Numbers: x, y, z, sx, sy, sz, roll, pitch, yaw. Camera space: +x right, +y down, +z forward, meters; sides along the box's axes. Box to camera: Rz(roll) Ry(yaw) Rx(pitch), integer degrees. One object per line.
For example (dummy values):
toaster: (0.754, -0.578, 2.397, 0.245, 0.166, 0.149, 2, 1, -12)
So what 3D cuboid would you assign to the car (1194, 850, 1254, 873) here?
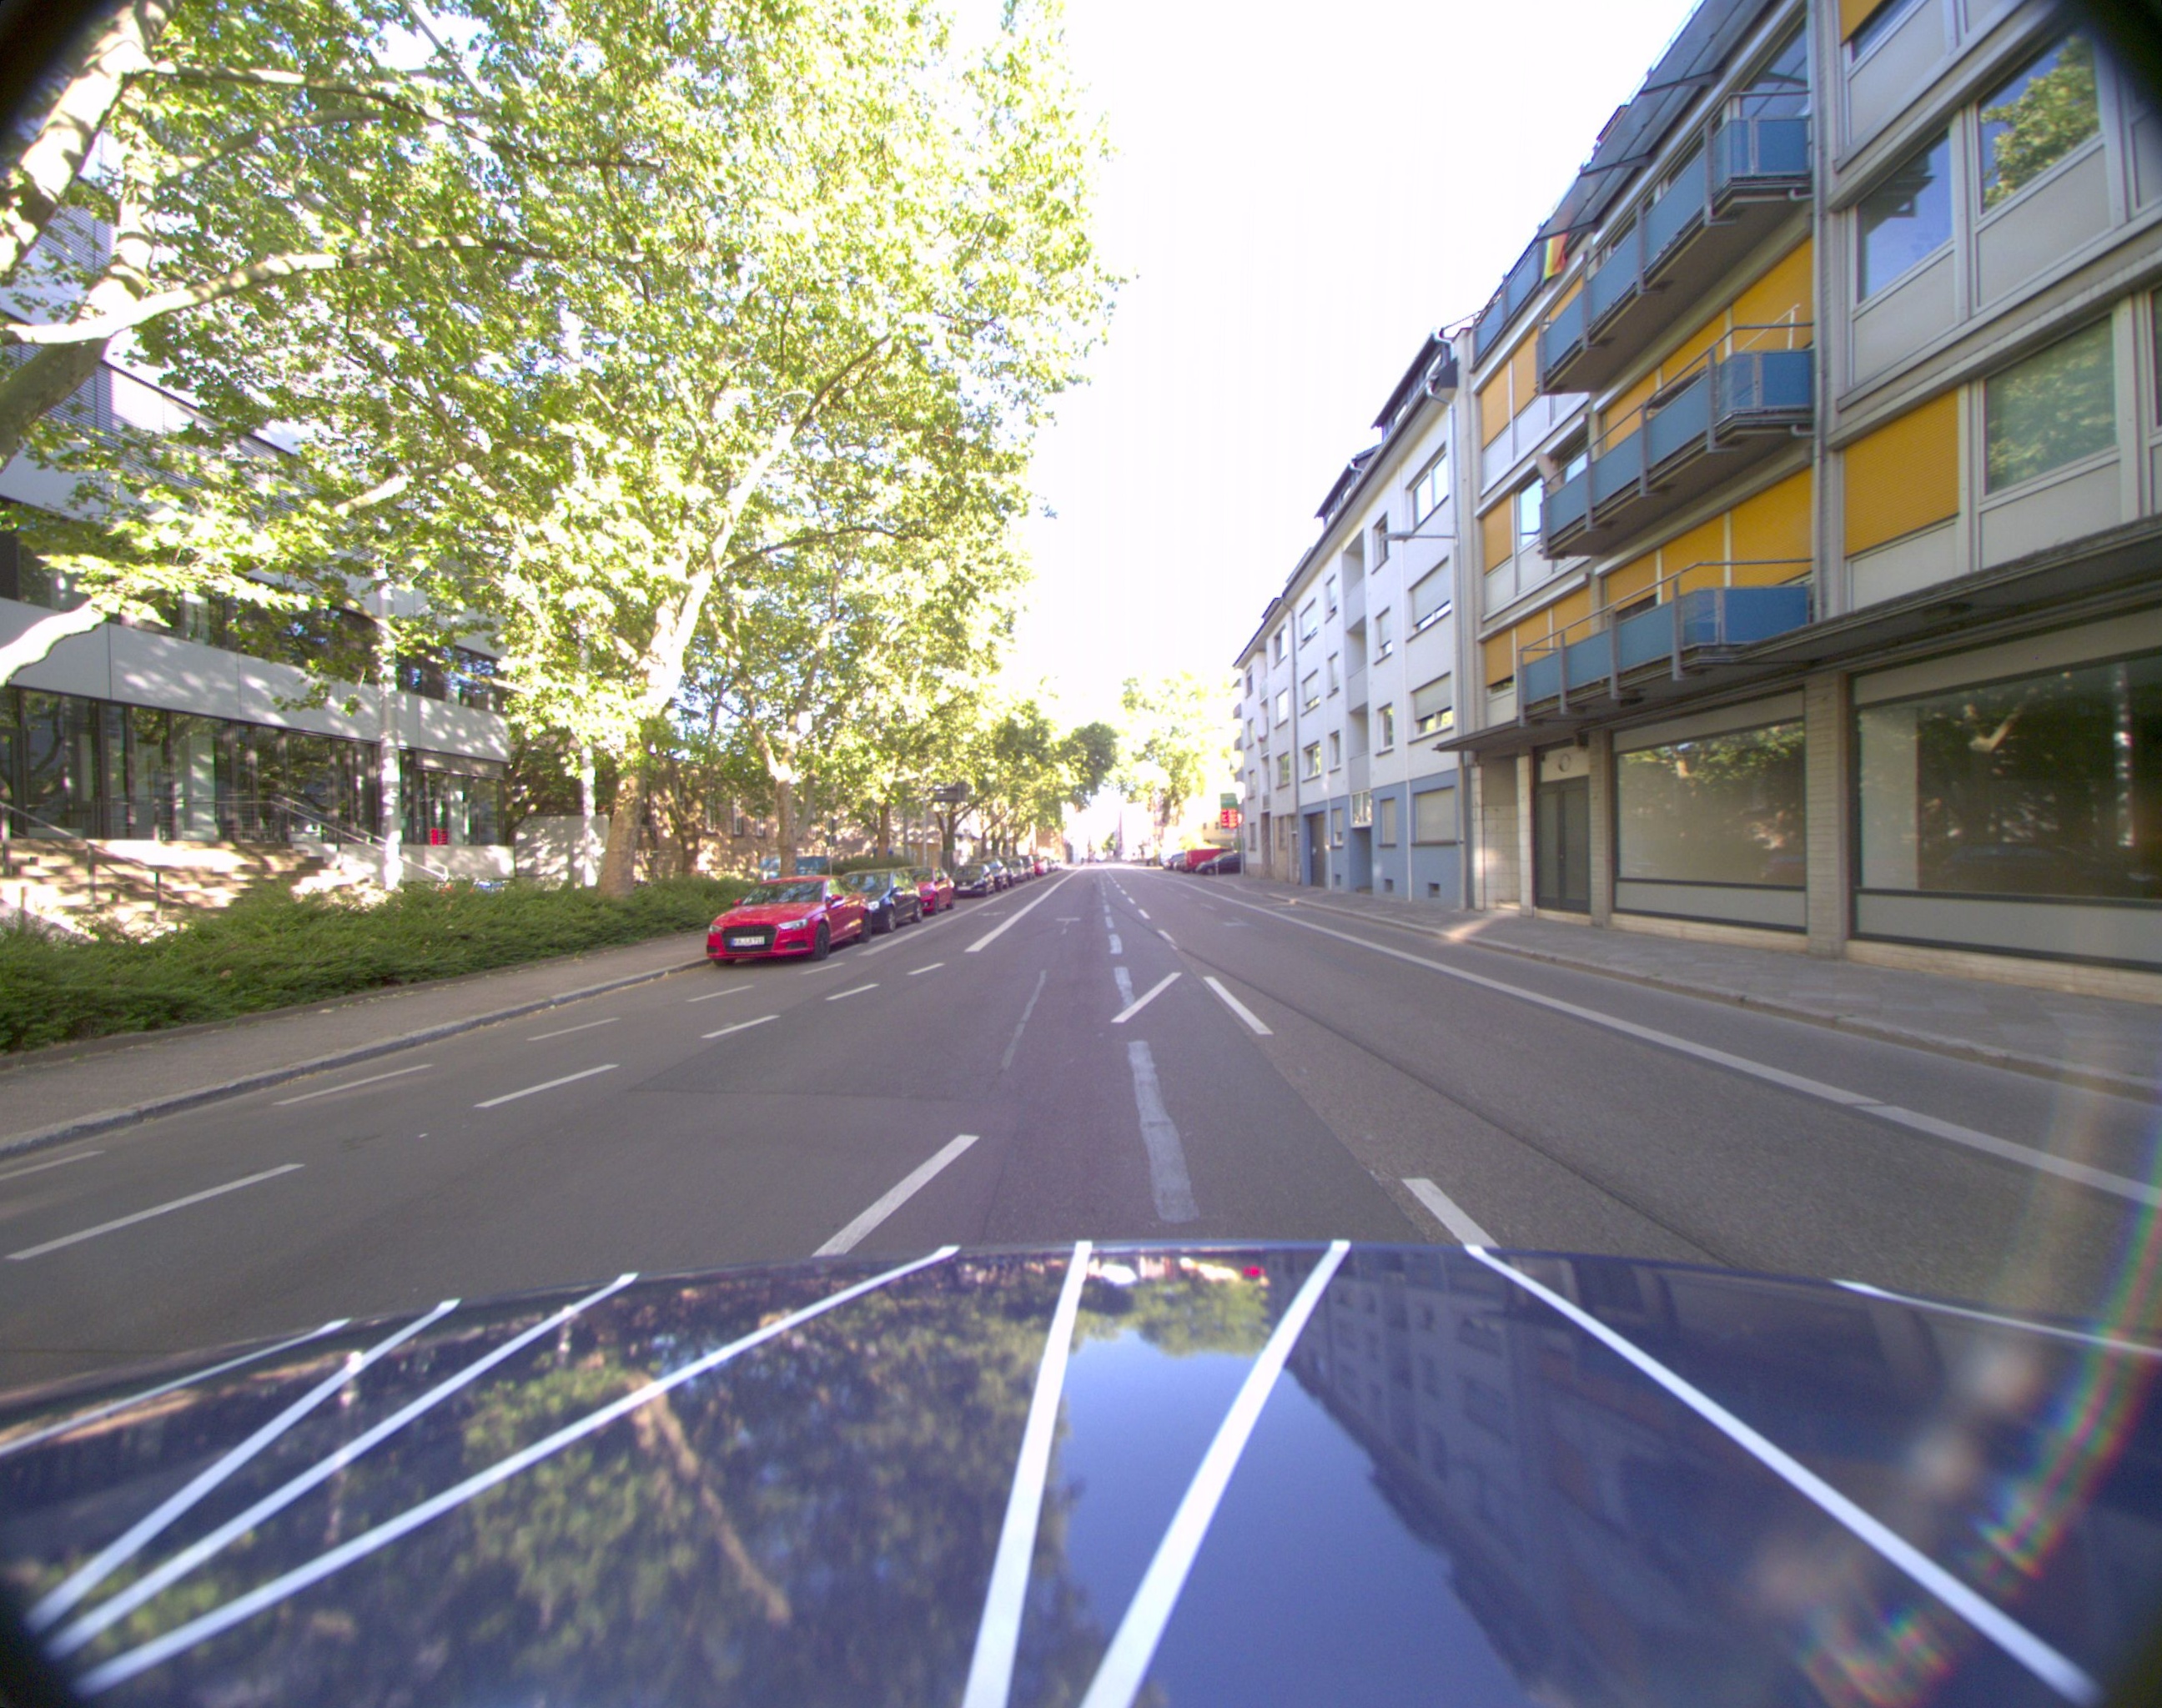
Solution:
car: (10.251, 0.549, 54.800, 3.996, 1.449, 1.761, -2, 1, 2)

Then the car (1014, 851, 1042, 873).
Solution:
car: (-4.595, 0.700, 66.097, 2.042, 1.745, 4.552, -3, 0, 0)

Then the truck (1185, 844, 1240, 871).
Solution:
truck: (10.365, 0.248, 59.996, 3.996, 1.925, 1.761, -2, 1, 2)

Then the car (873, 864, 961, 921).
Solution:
car: (-5.030, 1.125, 23.863, 1.818, 1.475, 4.163, -3, 0, 0)

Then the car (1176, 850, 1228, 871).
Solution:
car: (9.975, 0.528, 62.850, 3.996, 1.494, 1.761, -2, 1, 2)

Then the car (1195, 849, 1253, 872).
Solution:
car: (10.725, 0.482, 57.147, 3.996, 1.494, 1.761, -2, 1, 2)

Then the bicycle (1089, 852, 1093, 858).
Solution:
bicycle: (2.035, 0.142, 149.523, 0.717, 1.052, 2.485, -2, 1, 1)

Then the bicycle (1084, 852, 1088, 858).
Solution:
bicycle: (1.010, 0.235, 148.889, 0.717, 1.052, 2.485, -2, 1, 2)

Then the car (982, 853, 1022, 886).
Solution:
car: (-4.526, 0.870, 44.152, 1.790, 1.745, 4.345, -3, 0, 0)

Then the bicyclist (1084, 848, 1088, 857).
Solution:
bicyclist: (0.989, -0.277, 148.864, 0.718, 1.573, 0.936, -2, 1, 1)

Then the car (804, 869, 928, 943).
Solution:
car: (-5.082, 1.170, 18.580, 1.818, 1.405, 4.163, -3, 0, 0)

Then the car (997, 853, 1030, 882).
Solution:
car: (-4.448, 0.853, 50.708, 1.790, 1.745, 4.552, -3, 0, 0)

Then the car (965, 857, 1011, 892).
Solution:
car: (-4.602, 0.979, 38.136, 1.790, 1.544, 4.163, -3, 0, 0)

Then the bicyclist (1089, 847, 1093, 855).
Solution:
bicyclist: (1.995, -0.551, 149.439, 0.718, 1.573, 0.936, -2, 1, 1)

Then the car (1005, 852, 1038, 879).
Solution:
car: (-4.320, 0.797, 55.666, 2.042, 1.745, 4.552, -3, 0, 0)

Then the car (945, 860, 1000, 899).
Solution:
car: (-4.703, 1.078, 33.390, 1.790, 1.451, 4.163, -3, 0, 0)

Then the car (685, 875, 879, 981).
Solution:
car: (-5.137, 1.193, 13.724, 1.818, 1.405, 4.163, -3, 0, 0)
